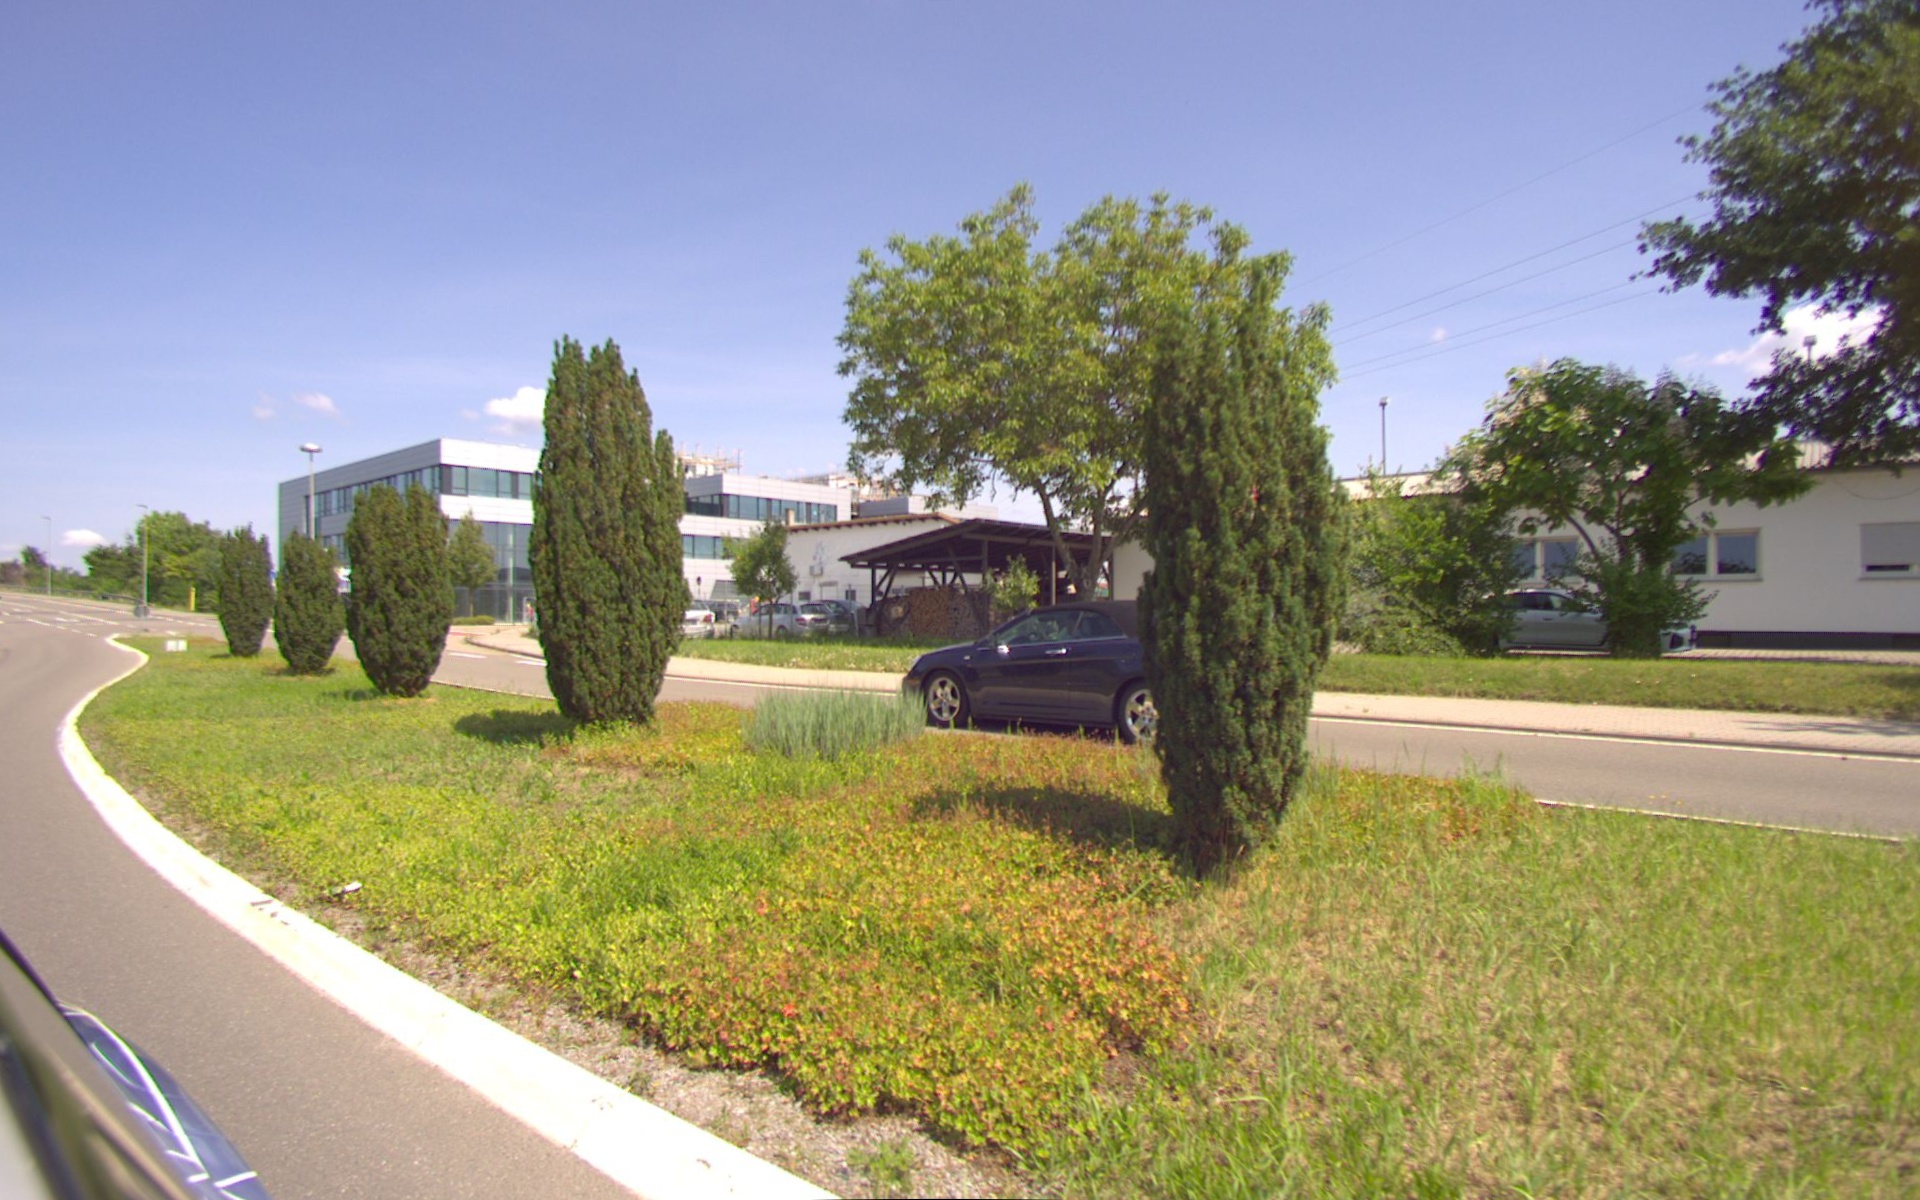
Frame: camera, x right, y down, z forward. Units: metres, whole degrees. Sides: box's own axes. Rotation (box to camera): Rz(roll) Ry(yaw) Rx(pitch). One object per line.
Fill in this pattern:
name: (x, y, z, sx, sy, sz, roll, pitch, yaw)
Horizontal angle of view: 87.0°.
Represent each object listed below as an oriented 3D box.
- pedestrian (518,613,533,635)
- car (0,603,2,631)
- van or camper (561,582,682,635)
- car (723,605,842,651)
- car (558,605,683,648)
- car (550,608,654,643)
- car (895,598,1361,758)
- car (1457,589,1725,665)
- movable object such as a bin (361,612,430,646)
pedestrian: (-34.001, 1.873, 79.232, 0.774, 1.741, 0.772, 0, -1, 39)
car: (-67.658, 1.140, 69.468, 3.990, 1.929, 1.977, 0, -1, 34)
van or camper: (-16.526, 0.405, 49.438, 5.492, 2.516, 2.085, 0, 0, -20)
car: (-6.010, 0.909, 34.099, 4.000, 1.453, 1.972, 0, -1, 43)
car: (-12.612, 0.951, 37.685, 3.938, 1.530, 2.003, 1, -1, -41)
car: (-14.536, 1.008, 41.101, 3.823, 1.331, 1.697, 0, -1, -26)
car: (1.644, 0.716, 11.197, 4.864, 1.404, 1.879, -1, -1, 42)
car: (13.120, 0.516, 21.192, 4.514, 1.419, 1.973, -1, 0, 41)
movable object such as a bin: (-41.626, 2.109, 74.548, 5.444, 2.428, 2.148, 0, 0, 33)
